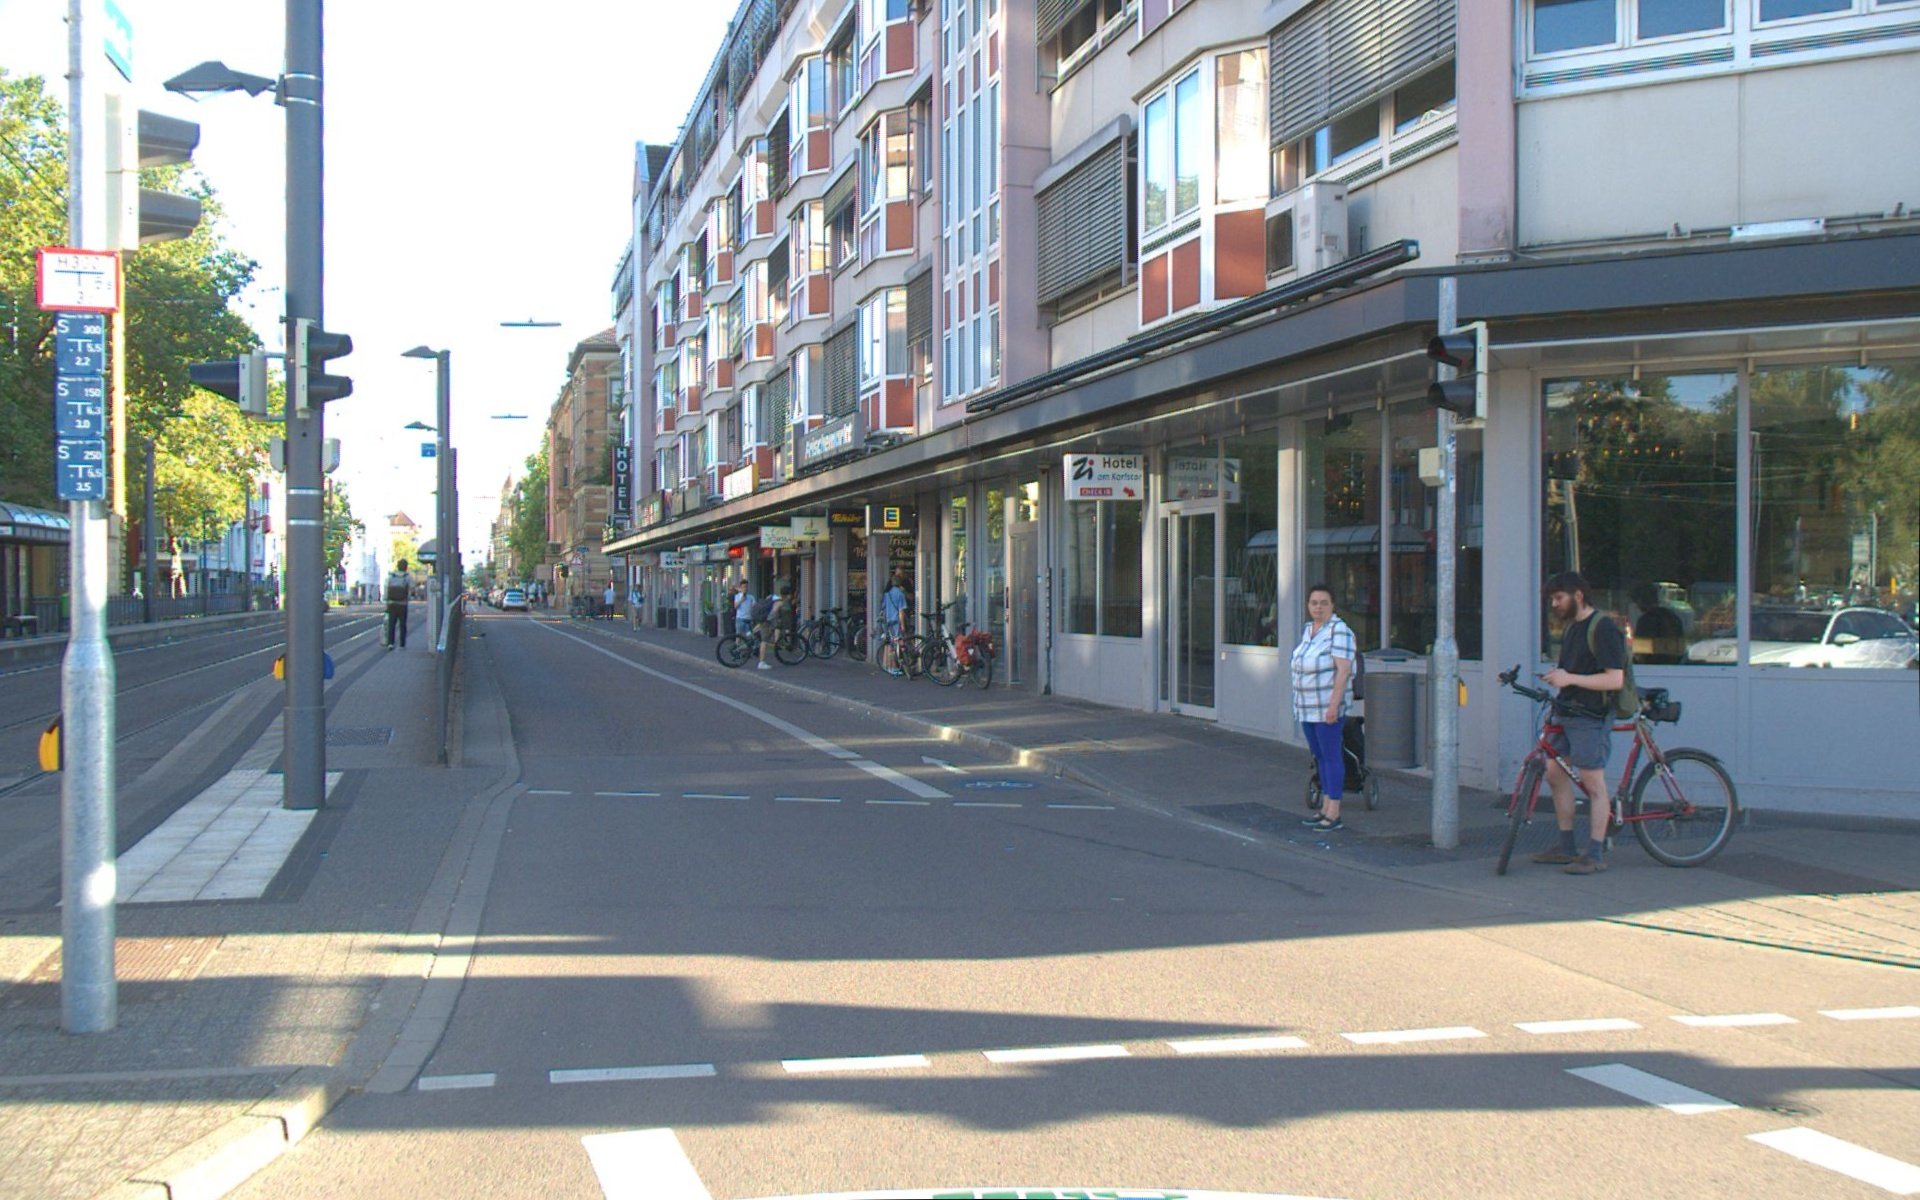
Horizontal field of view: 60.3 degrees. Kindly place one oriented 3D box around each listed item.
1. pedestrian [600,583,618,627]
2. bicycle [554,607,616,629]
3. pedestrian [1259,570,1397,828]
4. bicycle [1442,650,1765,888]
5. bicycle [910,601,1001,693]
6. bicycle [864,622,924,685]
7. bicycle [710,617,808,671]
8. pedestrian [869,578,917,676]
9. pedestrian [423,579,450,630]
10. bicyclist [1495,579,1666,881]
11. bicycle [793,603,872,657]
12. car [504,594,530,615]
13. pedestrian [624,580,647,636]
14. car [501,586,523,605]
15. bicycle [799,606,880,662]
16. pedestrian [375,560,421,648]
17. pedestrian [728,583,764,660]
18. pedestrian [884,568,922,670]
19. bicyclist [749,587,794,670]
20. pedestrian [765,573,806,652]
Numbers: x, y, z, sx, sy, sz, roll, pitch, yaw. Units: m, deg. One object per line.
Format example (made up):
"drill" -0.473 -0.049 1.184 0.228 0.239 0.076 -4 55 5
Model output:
"pedestrian" -16.374 0.227 77.170 0.760 2.048 0.503 1 1 -14
"bicycle" -19.206 0.902 84.751 0.886 1.010 3.150 2 2 44
"pedestrian" 2.516 0.647 11.319 0.704 1.691 0.629 -1 -1 44
"bicycle" 3.713 0.936 9.543 1.737 1.165 0.637 -3 2 -19
"bicycle" -0.089 0.654 23.958 0.716 1.248 2.322 0 0 -16
"bicycle" -1.084 0.846 26.809 0.492 0.933 2.069 0 0 -16
"bicycle" -3.961 0.858 32.633 1.868 0.946 0.628 -3 1 -7
"pedestrian" -1.160 0.453 28.635 0.596 1.664 0.603 1 1 24
"pedestrian" -17.396 0.146 54.970 0.770 1.688 0.677 0 1 -28
"bicyclist" 3.549 0.711 9.481 0.646 1.624 0.638 -2 2 -18
"bicycle" -2.788 0.651 36.051 1.621 1.138 0.562 0 1 -23
"car" -35.280 0.340 131.626 1.961 1.579 3.984 0 2 -15
"pedestrian" -11.979 0.297 61.029 0.824 2.048 0.775 1 1 -13
"car" -41.685 -0.416 153.947 1.961 1.579 3.984 0 2 -15
"bicycle" -2.523 0.696 34.649 1.621 1.138 0.481 0 1 -23
"pedestrian" -10.949 0.074 32.216 0.770 1.688 0.677 0 1 -28
"pedestrian" -4.737 0.473 36.596 0.737 1.673 0.548 1 1 -13
"pedestrian" -1.075 0.350 30.980 0.598 1.884 0.602 1 1 -12
"bicyclist" -3.680 0.557 32.309 0.784 1.559 0.628 -3 1 -6
"pedestrian" -4.121 0.288 39.038 0.800 1.809 0.681 1 1 8
